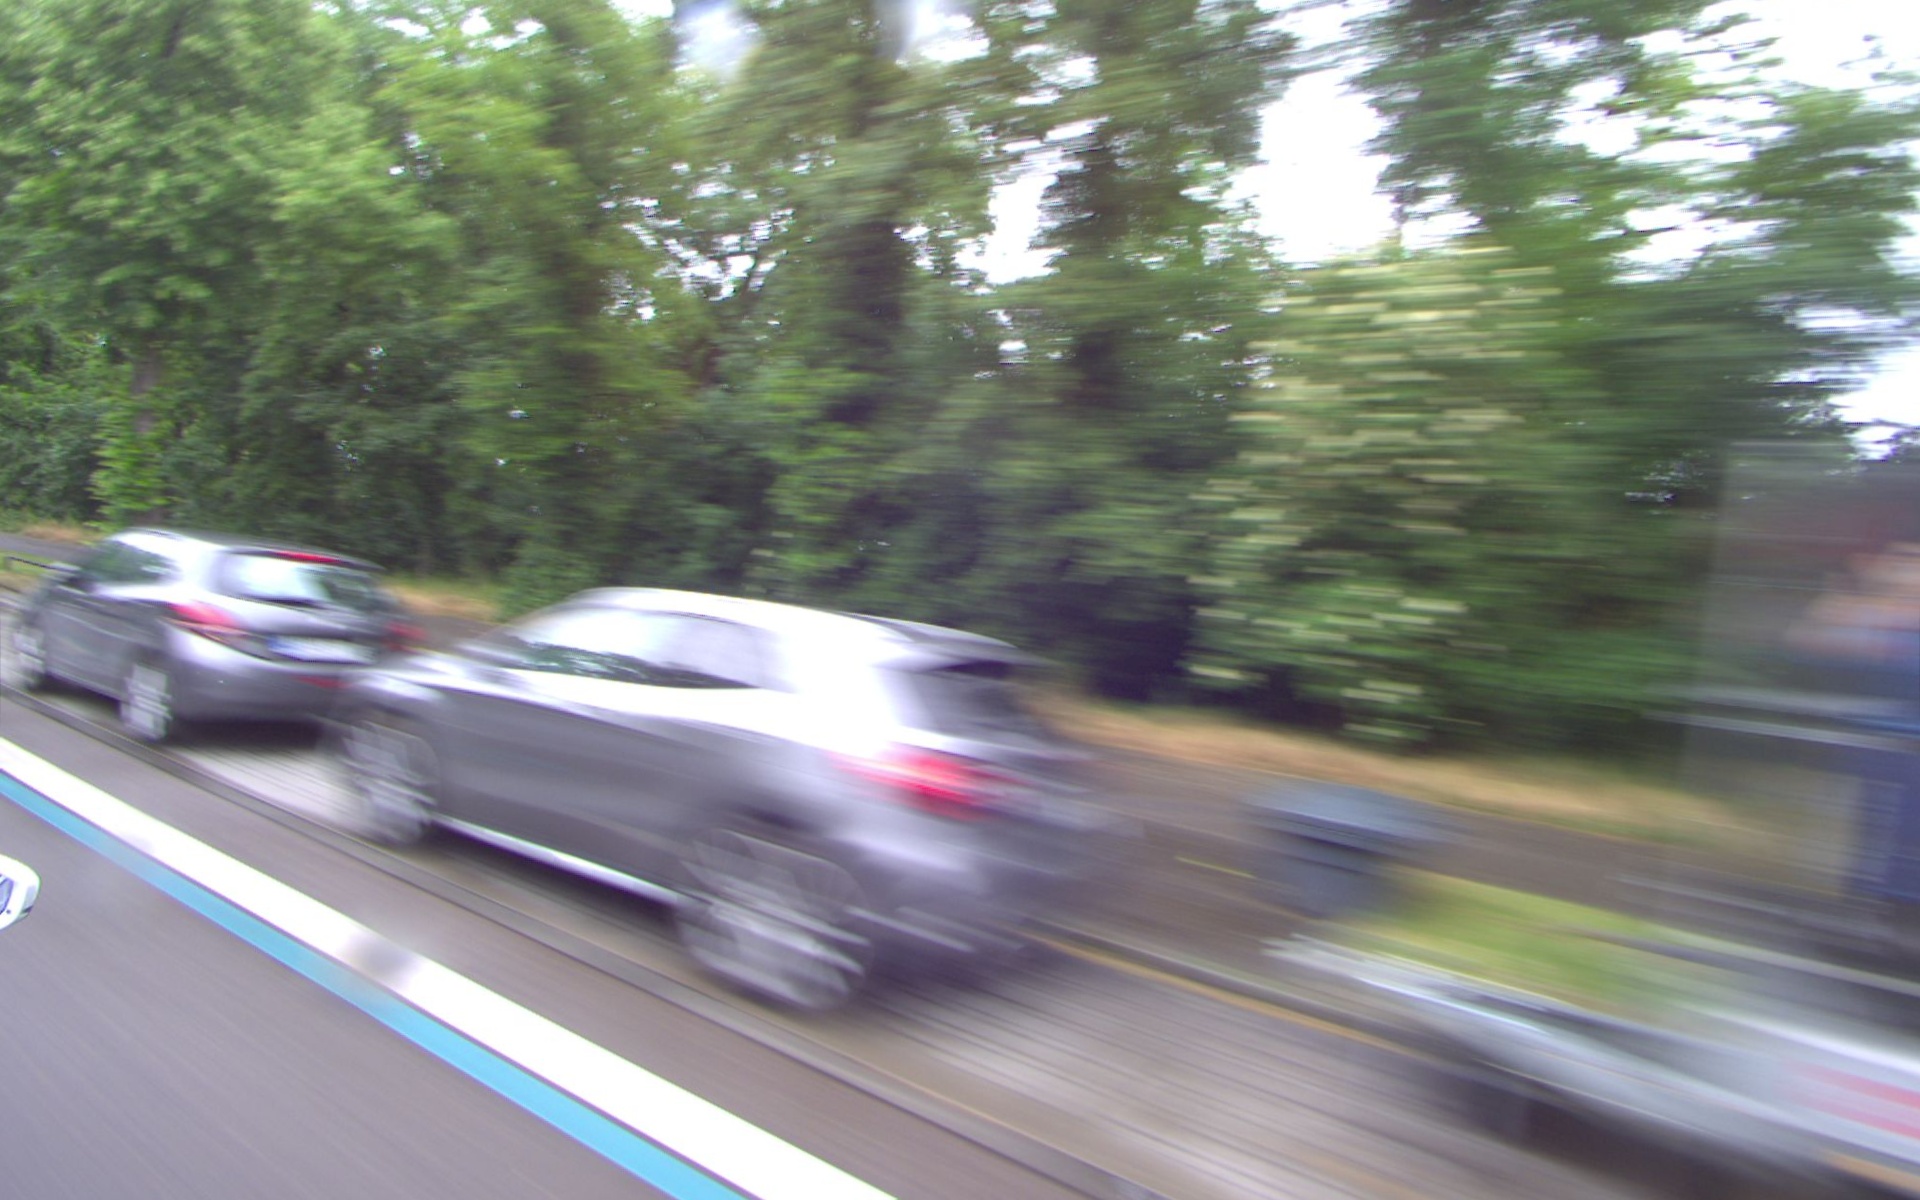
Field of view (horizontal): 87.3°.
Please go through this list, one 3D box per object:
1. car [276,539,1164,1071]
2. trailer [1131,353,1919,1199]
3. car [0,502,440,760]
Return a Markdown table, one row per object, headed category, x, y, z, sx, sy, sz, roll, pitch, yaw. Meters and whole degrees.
| category | x | y | z | sx | sy | sz | roll | pitch | yaw |
| --- | --- | --- | --- | --- | --- | --- | --- | --- | --- |
| car | -1.408 | 0.673 | 5.186 | 4.355 | 1.468 | 1.798 | 6 | -1 | 32 |
| trailer | 3.067 | 0.814 | 2.321 | 4.689 | 2.274 | 1.909 | 7 | -1 | 32 |
| car | -6.113 | 0.176 | 8.049 | 3.935 | 1.487 | 1.618 | 6 | -2 | 33 |
